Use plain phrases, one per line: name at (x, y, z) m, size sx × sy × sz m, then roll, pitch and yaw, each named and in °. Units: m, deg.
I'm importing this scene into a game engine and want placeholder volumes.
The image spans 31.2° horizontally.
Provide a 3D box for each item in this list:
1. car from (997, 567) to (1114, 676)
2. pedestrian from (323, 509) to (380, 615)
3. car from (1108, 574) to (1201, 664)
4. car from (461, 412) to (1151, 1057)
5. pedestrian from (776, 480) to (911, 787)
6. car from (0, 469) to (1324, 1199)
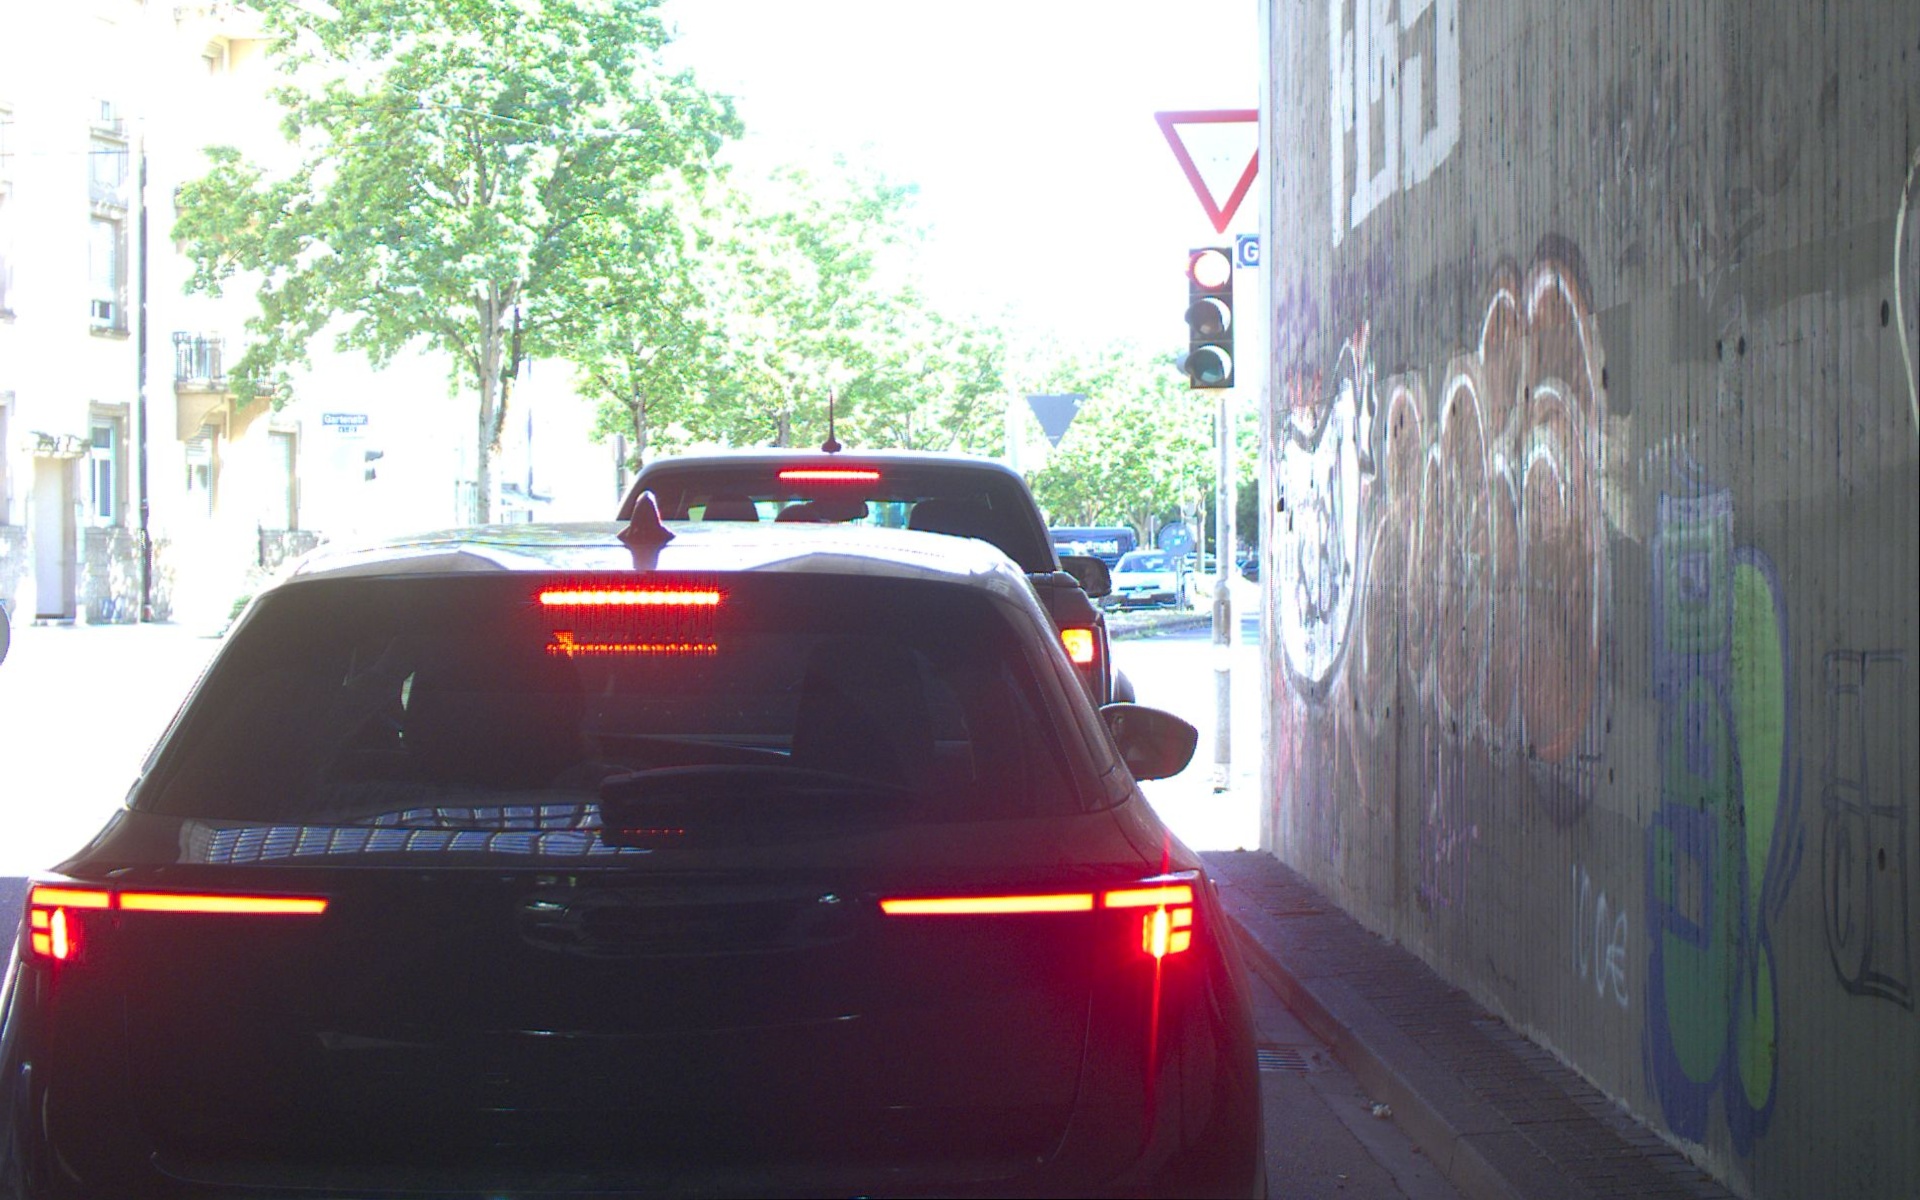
car at (1.849, 0.378, 65.564) m, size 1.994 × 1.963 × 4.163 m, roll 1°, pitch 1°, yaw 5°
pedestrian at (-12.031, -0.748, 68.001) m, size 0.892 × 2.080 × 0.808 m, roll 1°, pitch 0°, yaw 7°
car at (4.457, 0.412, 78.303) m, size 1.994 × 1.963 × 4.163 m, roll 1°, pitch 1°, yaw 5°
car at (-0.468, 0.353, 11.997) m, size 1.993 × 1.865 × 4.000 m, roll 0°, pitch 1°, yaw -1°
pedestrian at (-0.664, 0.185, 19.861) m, size 0.731 × 1.728 × 0.874 m, roll 1°, pitch 0°, yaw -1°
car at (-0.485, 0.566, 6.093) m, size 1.764 × 1.566 × 4.001 m, roll 1°, pitch 2°, yaw -1°
